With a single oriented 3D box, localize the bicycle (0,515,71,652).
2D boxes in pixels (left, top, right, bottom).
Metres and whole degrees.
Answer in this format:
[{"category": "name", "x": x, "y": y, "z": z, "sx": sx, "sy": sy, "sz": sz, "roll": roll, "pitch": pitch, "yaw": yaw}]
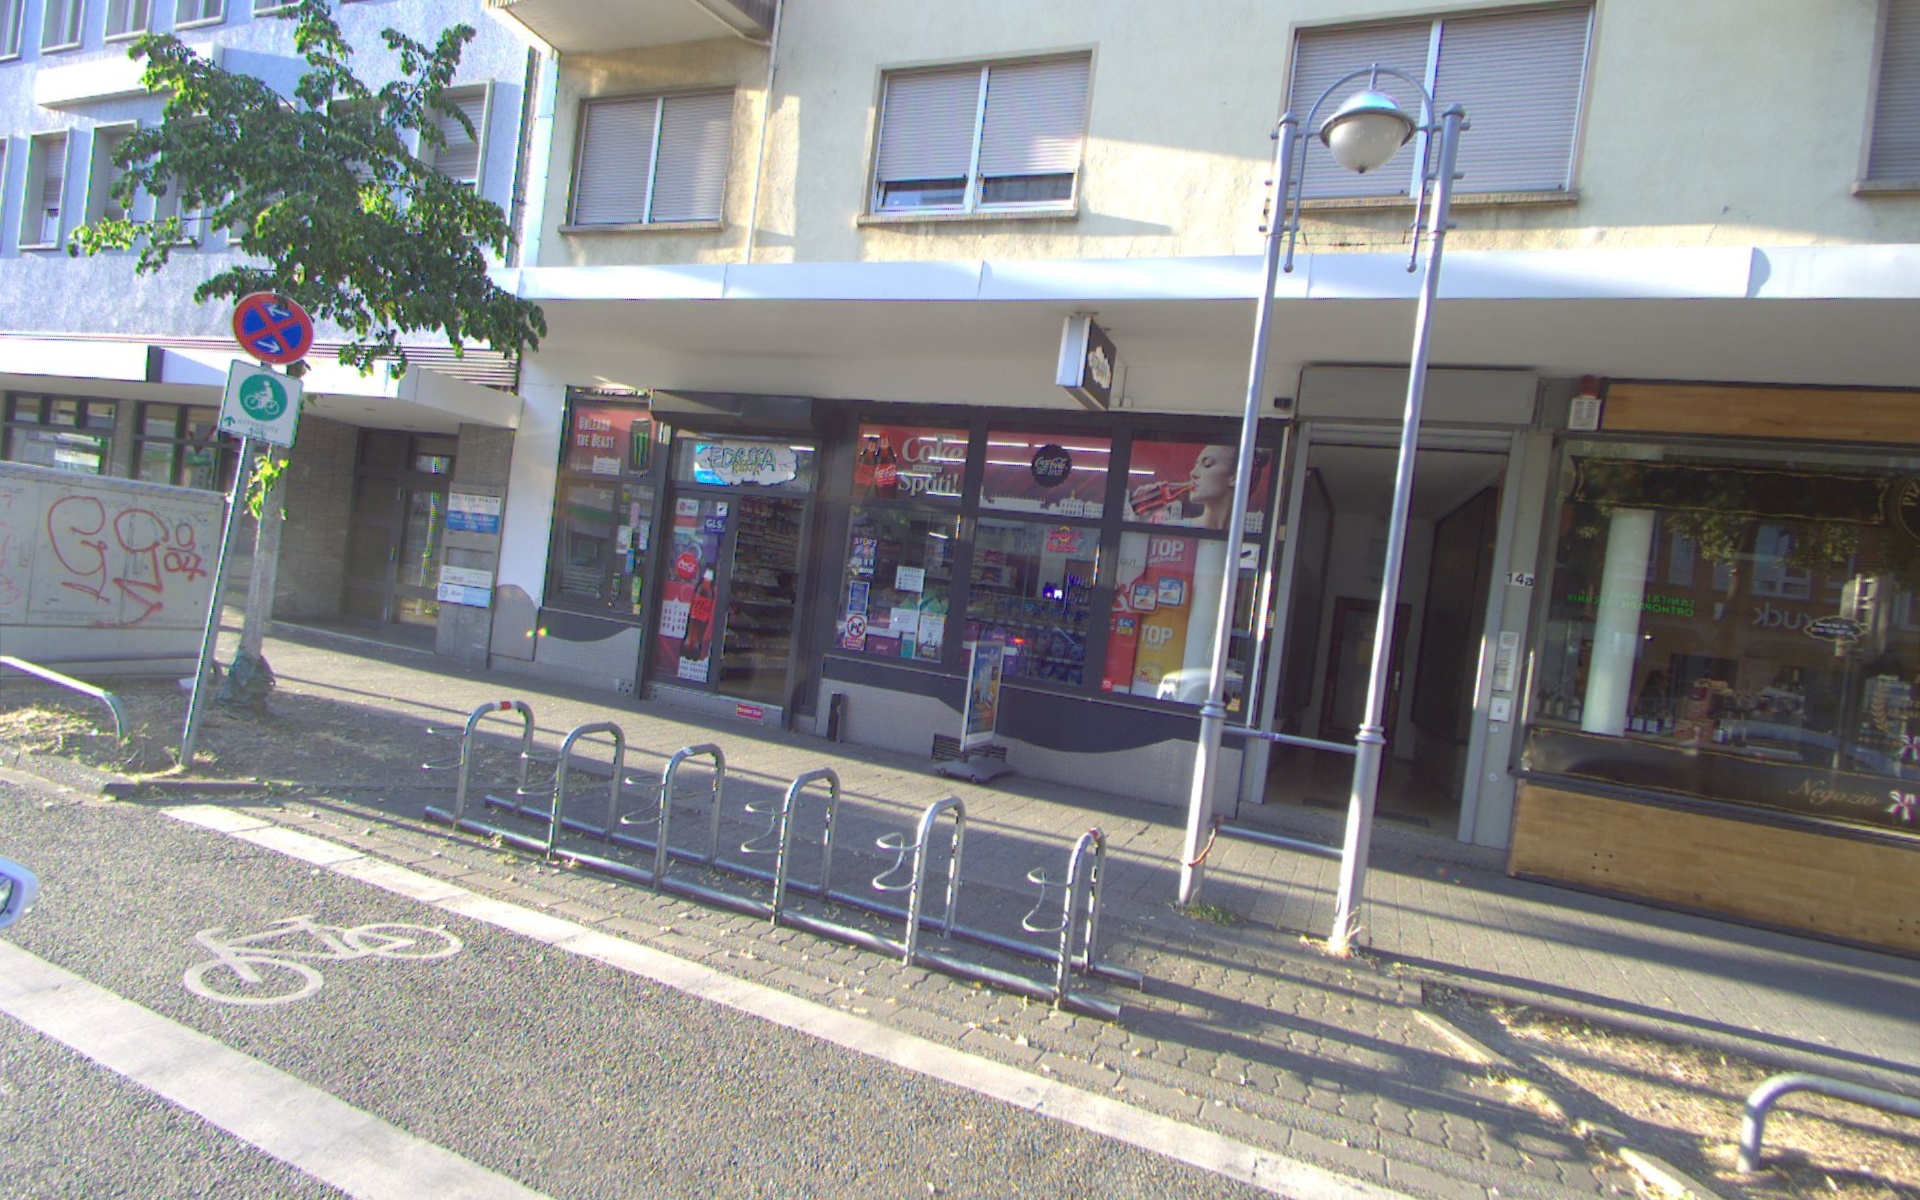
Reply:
[{"category": "bicycle", "x": -9.062, "y": -0.197, "z": 9.058, "sx": 0.376, "sy": 1.234, "sz": 1.446, "roll": 7, "pitch": -1, "yaw": 25}]
